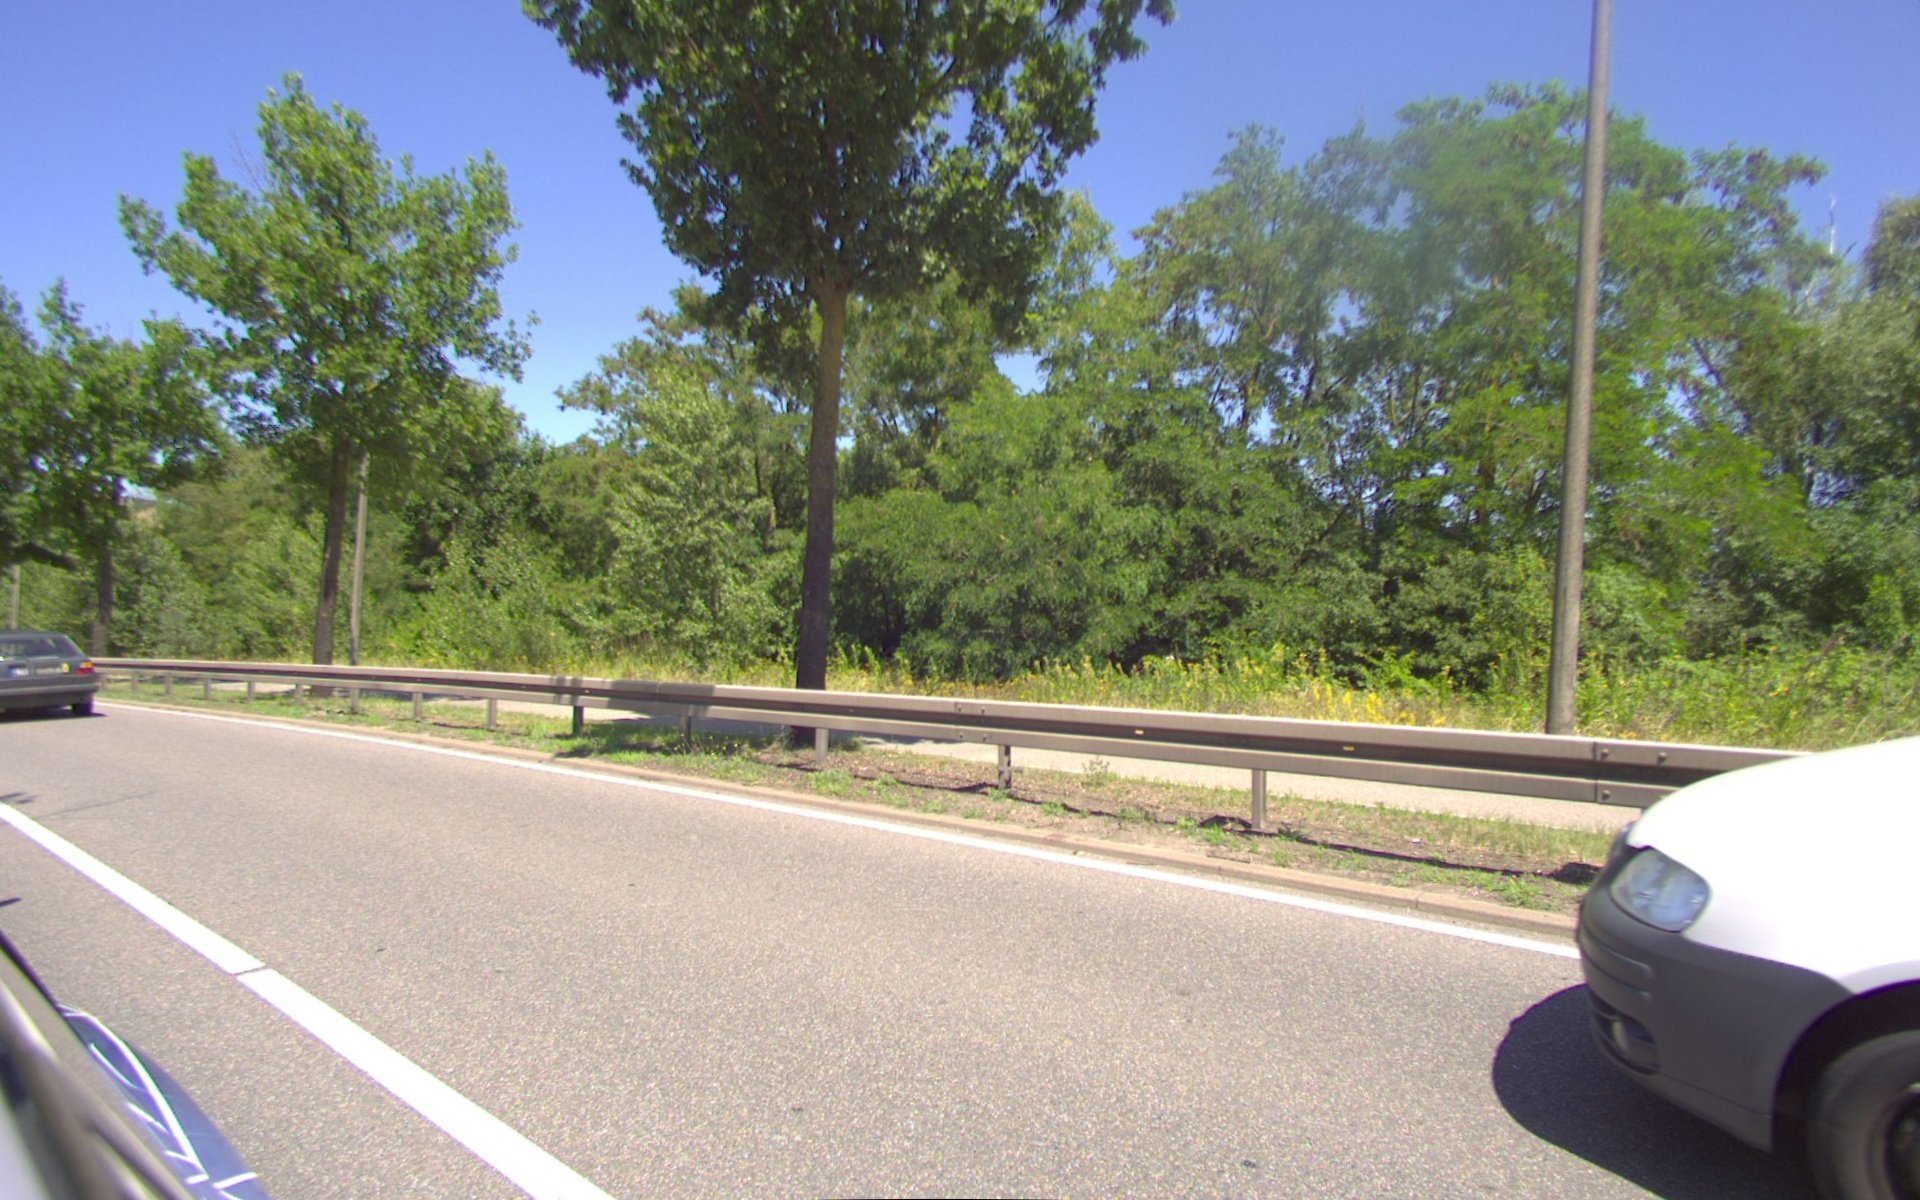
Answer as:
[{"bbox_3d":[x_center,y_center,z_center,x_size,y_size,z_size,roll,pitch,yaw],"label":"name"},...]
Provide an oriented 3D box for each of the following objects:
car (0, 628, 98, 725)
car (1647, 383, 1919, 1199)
[{"bbox_3d":[-15.390,1.162,16.208,3.880,1.382,1.543,-1,0,36],"label":"car"},{"bbox_3d":[3.725,0.436,1.383,4.389,1.776,1.726,-1,0,43],"label":"car"}]
